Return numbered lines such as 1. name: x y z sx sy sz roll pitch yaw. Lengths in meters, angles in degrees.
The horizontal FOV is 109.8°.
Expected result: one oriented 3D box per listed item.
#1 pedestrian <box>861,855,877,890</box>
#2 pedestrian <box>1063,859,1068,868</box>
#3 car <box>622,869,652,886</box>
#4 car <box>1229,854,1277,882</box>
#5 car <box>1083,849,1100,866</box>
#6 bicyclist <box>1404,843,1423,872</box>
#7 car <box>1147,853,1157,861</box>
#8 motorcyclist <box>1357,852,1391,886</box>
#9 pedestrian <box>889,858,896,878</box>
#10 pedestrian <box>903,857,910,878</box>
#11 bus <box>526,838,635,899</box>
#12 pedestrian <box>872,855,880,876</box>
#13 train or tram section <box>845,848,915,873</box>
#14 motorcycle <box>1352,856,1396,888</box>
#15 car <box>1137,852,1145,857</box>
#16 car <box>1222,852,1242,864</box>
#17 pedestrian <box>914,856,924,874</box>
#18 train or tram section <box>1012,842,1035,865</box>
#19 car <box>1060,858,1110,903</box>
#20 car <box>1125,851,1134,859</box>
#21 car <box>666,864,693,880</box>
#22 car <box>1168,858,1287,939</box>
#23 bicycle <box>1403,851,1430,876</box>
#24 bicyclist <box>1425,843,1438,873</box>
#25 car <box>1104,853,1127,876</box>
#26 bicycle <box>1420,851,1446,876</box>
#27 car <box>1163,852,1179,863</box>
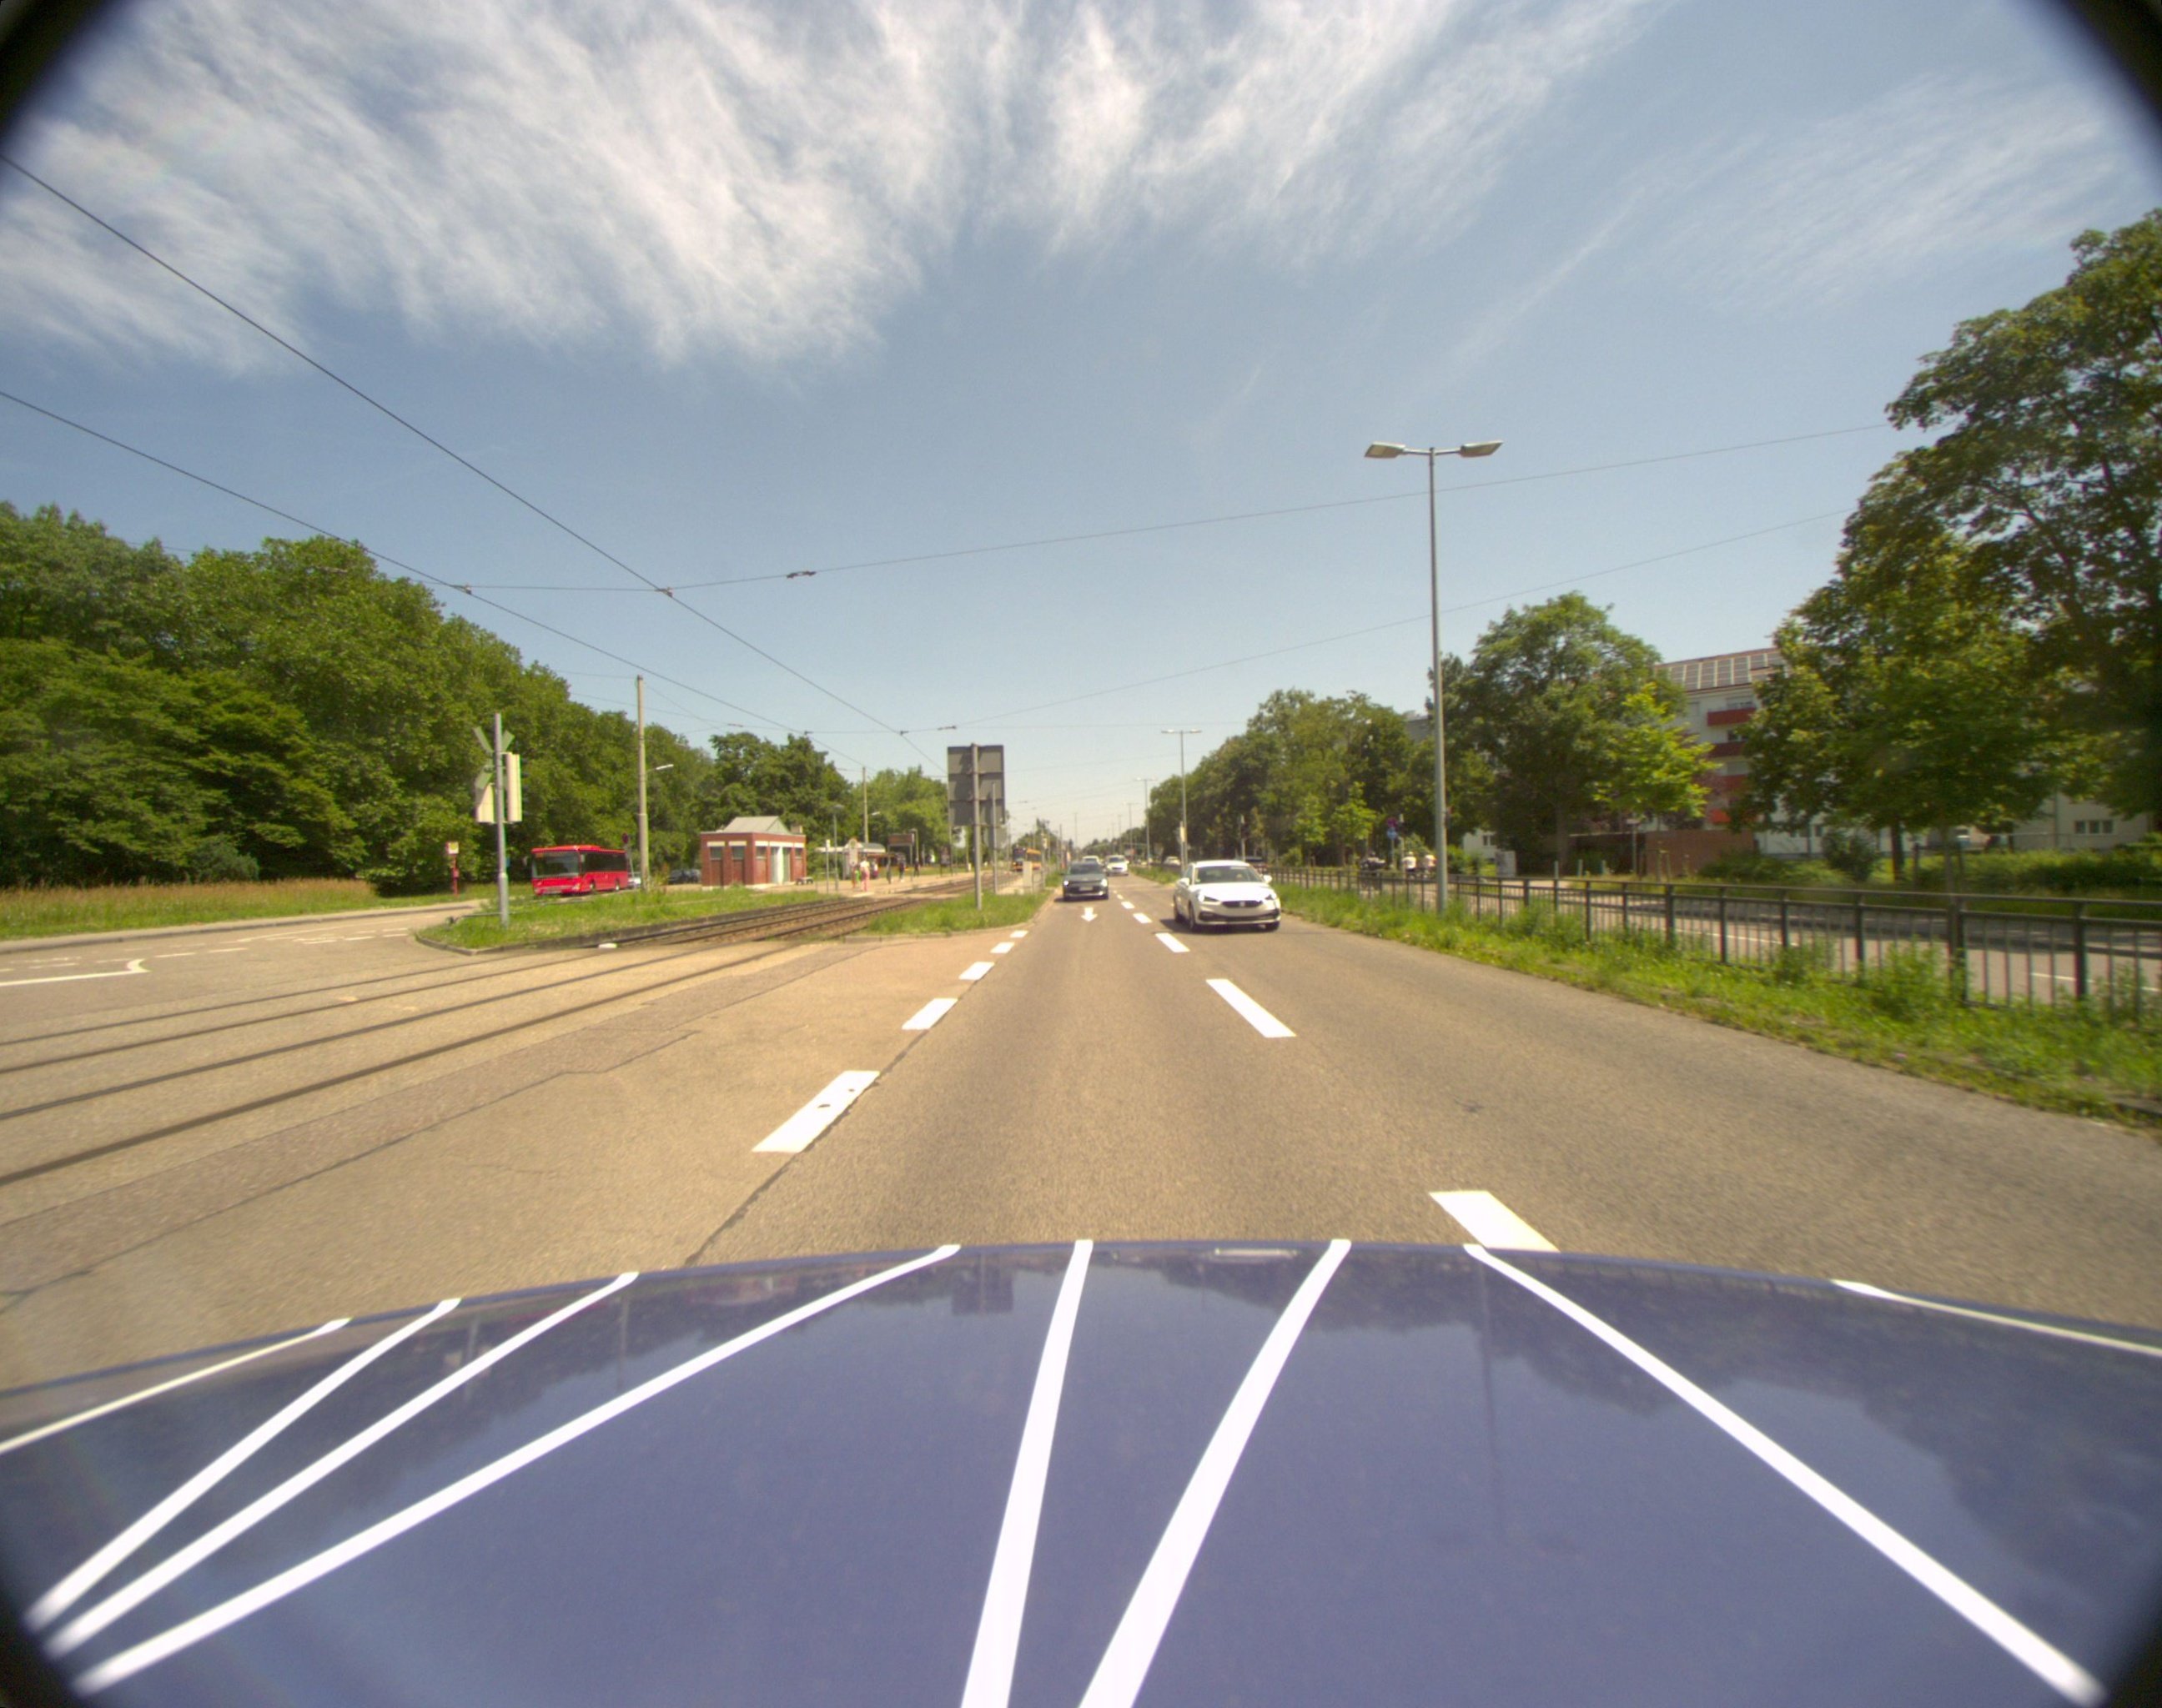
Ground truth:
1. pedestrian: -10.903 0.956 39.039 0.637 1.749 0.816 -3 1 -13
2. pedestrian: -1.900 1.190 94.664 0.577 1.034 0.579 -1 0 1
3. car: -36.977 1.966 63.396 1.575 1.259 3.993 -1 0 -22
4. car: 10.090 0.784 44.911 1.761 1.534 4.160 -1 0 -1
5. car: 1.281 0.432 90.792 1.921 2.002 4.000 -1 0 0
6. bicyclist: 15.651 0.157 35.764 0.546 1.338 0.755 -1 0 0
7. car: 16.844 0.700 180.858 1.864 1.748 4.478 -2 1 -2
8. motorcyclist: 12.440 0.610 32.262 0.738 1.395 1.512 -1 0 -5
9. pedestrian: -14.861 1.116 59.880 0.361 1.587 0.483 -3 1 4
10. pedestrian: -13.630 1.025 59.250 0.361 1.636 0.445 -1 0 4
11. bus: -32.694 0.828 50.337 2.770 3.419 12.425 -3 1 -18
12. pedestrian: -17.241 0.987 64.001 0.382 1.764 0.740 -1 1 4
13. train or tram section: -33.958 1.127 127.870 13.151 3.628 2.720 -2 1 31
14. motorcycle: 12.400 0.736 32.226 0.807 1.291 2.394 -1 0 -3
15. car: 16.769 0.157 212.426 1.772 1.545 4.082 0 1 -1
16. car: 20.770 0.569 104.501 1.998 1.575 4.000 -1 0 1
17. pedestrian: -15.438 1.032 72.310 0.707 1.754 0.657 -1 1 3
18. train or tram section: -8.612 -0.002 114.463 2.524 3.303 7.260 -1 0 2
19. car: 0.242 1.043 31.321 1.787 1.554 4.136 -4 0 3
20. car: 12.430 0.194 194.775 1.998 2.002 4.000 -1 0 2
21. car: -42.865 1.896 81.206 1.889 1.502 3.994 -1 0 -18
22. car: 3.069 0.867 16.720 1.772 1.460 4.111 -3 0 0
23. bicycle: 15.640 0.433 35.440 0.589 1.126 1.615 -1 0 1
24. bicyclist: 16.418 0.165 35.618 0.358 1.384 0.440 -3 0 3
25. car: 3.197 0.945 69.419 1.998 2.002 4.000 -1 0 3
26. bicycle: 16.424 0.424 35.464 0.555 1.088 1.379 -3 1 2
27. car: 12.361 0.469 104.818 1.825 1.563 4.347 -1 0 2
